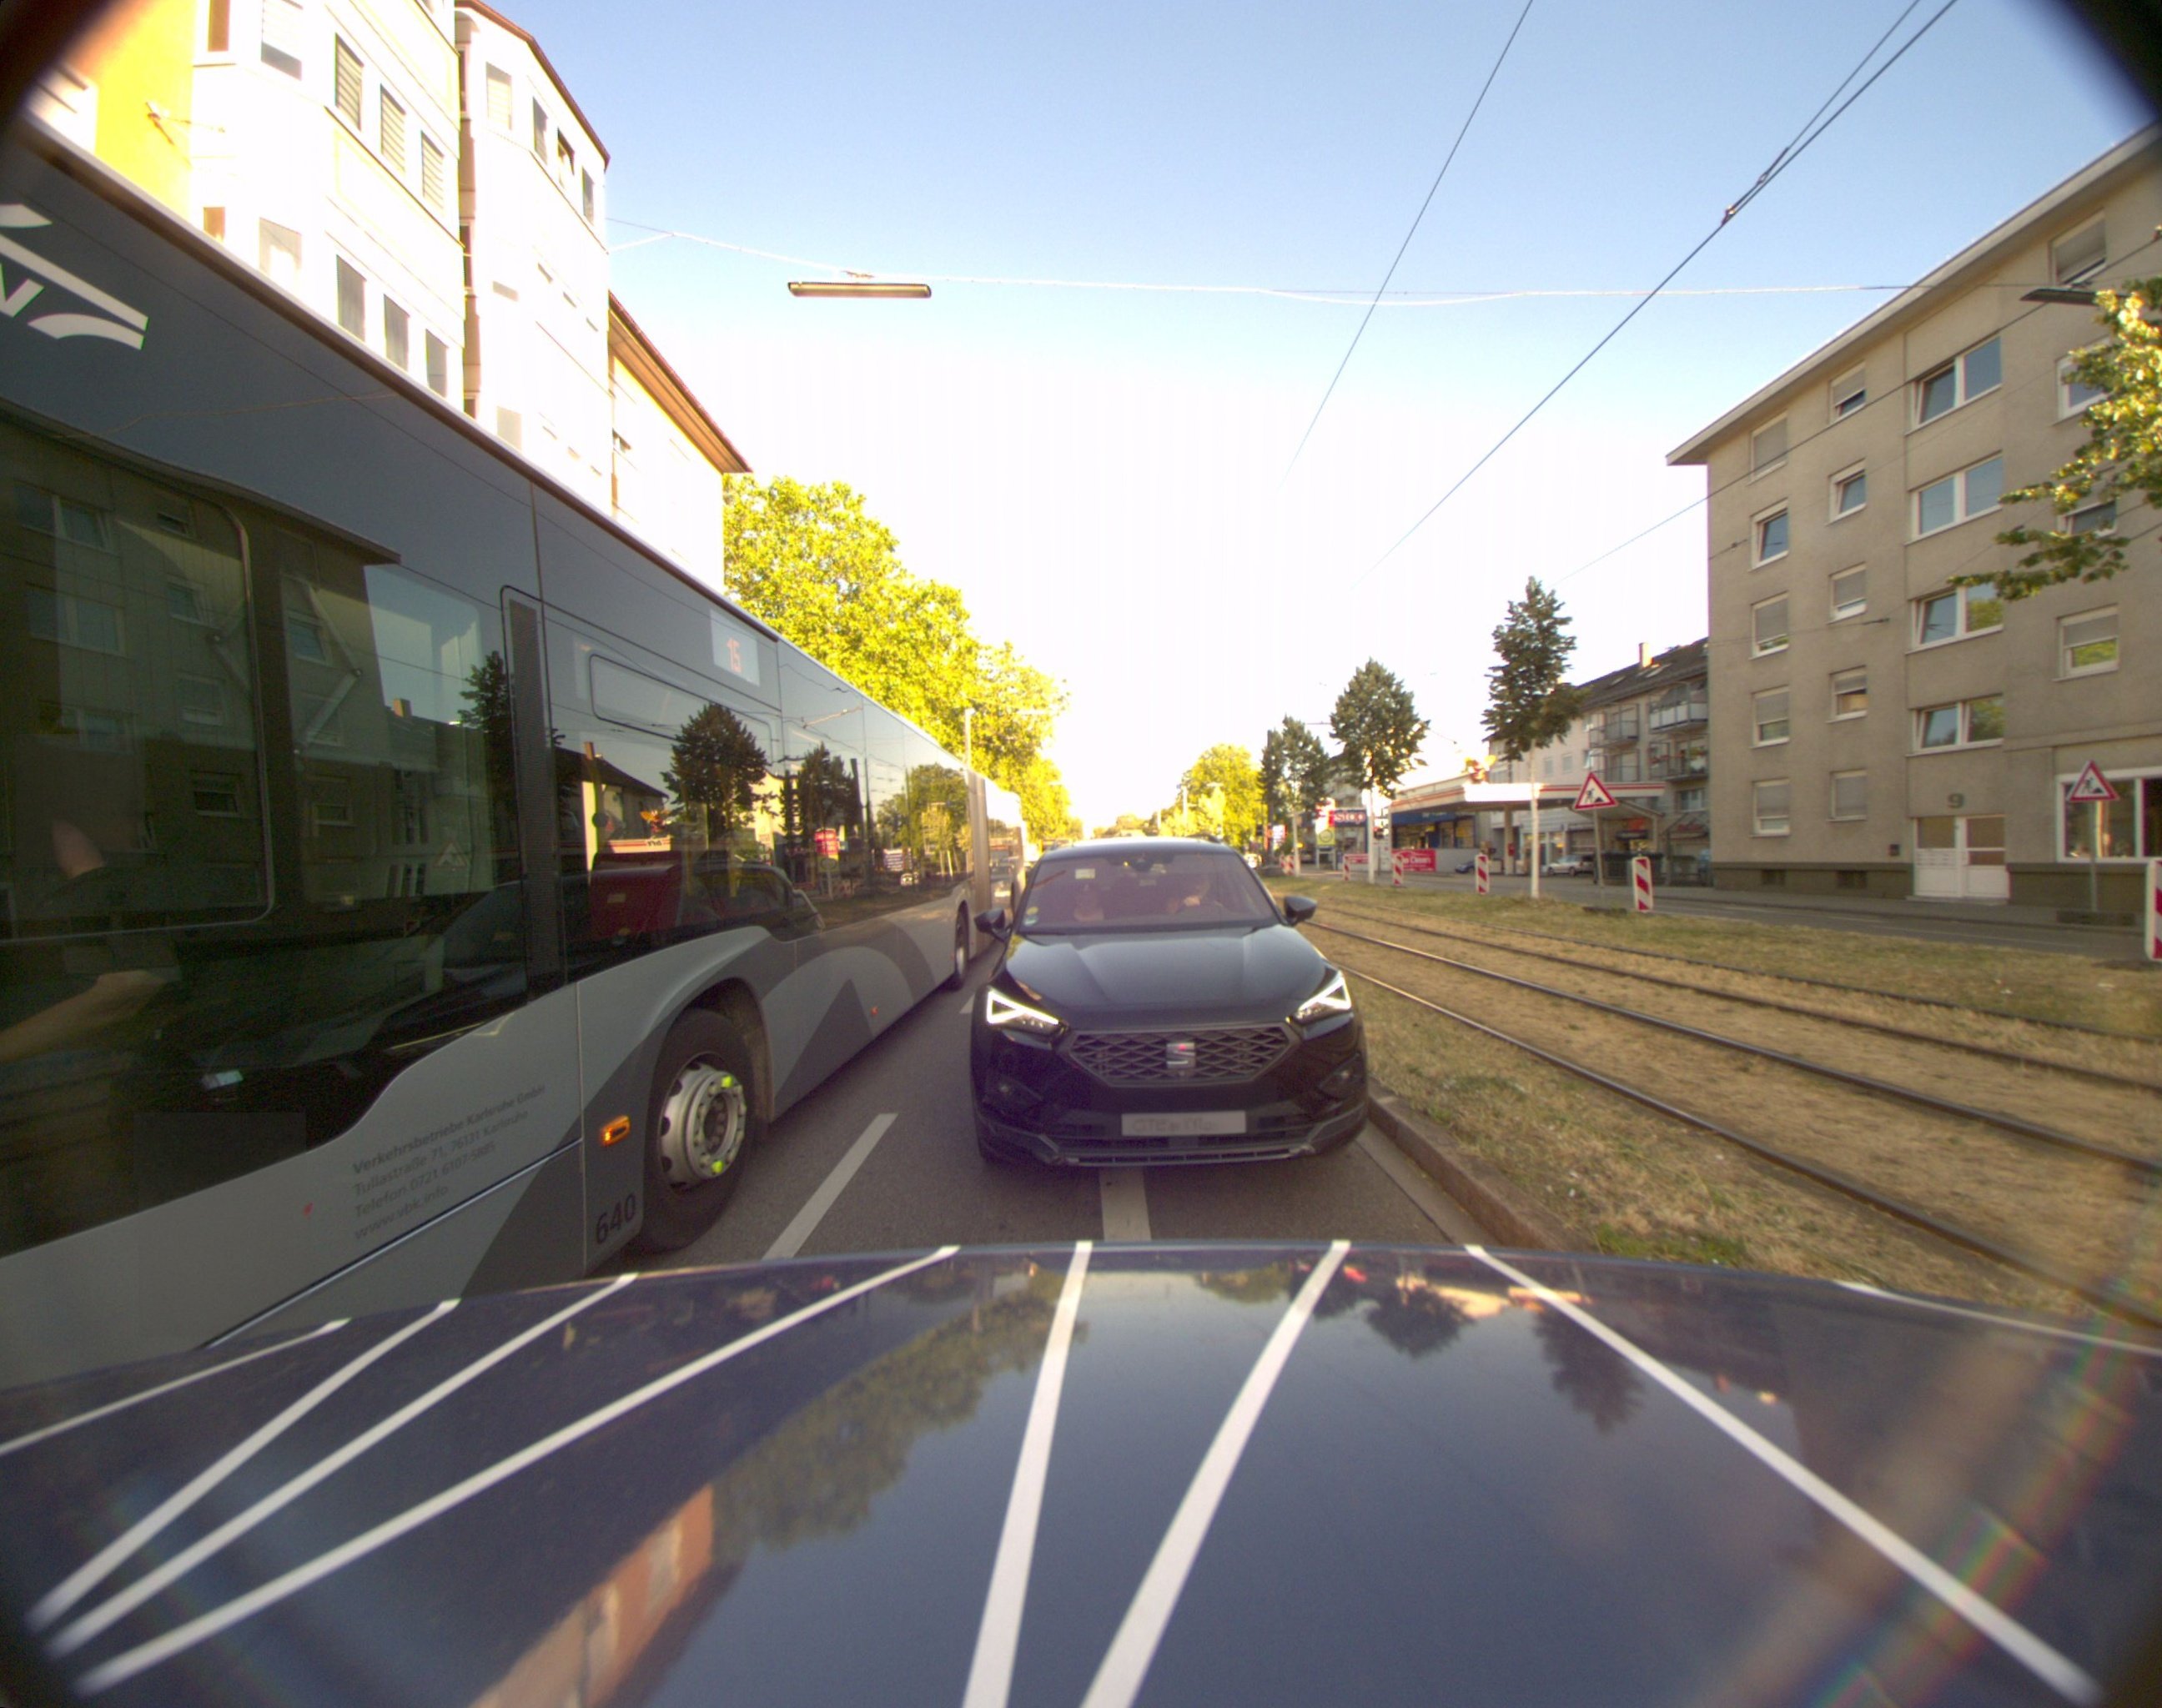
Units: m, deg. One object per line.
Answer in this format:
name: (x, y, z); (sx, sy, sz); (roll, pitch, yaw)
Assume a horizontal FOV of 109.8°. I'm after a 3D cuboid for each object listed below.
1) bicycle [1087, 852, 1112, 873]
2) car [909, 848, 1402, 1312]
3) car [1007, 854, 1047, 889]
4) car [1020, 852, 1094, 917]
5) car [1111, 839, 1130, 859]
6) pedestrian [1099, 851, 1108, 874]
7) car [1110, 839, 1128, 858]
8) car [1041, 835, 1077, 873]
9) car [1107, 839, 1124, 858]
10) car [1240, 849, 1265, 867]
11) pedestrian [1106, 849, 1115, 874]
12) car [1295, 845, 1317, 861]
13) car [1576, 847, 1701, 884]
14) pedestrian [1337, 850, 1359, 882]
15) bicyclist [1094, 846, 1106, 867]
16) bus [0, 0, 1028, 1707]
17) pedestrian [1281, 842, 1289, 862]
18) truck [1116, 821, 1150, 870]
bicycle: (1.163, 0.532, 46.948); (1.476, 1.213, 0.524); (-3, 1, -33)
car: (0.307, 0.852, 4.863); (1.774, 1.667, 4.000); (-3, 0, 1)
car: (-2.726, 0.850, 39.163); (1.750, 1.598, 3.823); (-2, 1, -1)
car: (-0.671, 0.859, 23.570); (1.998, 1.739, 4.000); (-3, 0, 1)
car: (4.066, -0.532, 78.535); (1.767, 2.002, 3.791); (-2, 1, 1)
pedestrian: (1.572, 0.593, 52.598); (0.509, 1.552, 0.699); (-2, 1, -3)
car: (4.105, -0.590, 83.568); (1.767, 2.002, 3.791); (-2, 1, 1)
car: (-1.709, -0.047, 61.813); (2.681, 2.875, 5.452); (-2, 1, 0)
car: (3.994, -0.634, 87.889); (1.767, 2.002, 3.791); (-2, 1, 1)
car: (16.683, 0.350, 74.076); (1.723, 1.601, 3.828); (-2, 1, 3)
pedestrian: (2.399, 0.617, 61.752); (0.625, 2.002, 0.695); (-2, 0, 0)
car: (25.105, -0.129, 84.831); (1.781, 1.547, 4.002); (-2, 1, 9)
car: (22.779, 0.488, 31.154); (3.727, 1.460, 1.908); (0, -1, 0)
pedestrian: (10.964, 0.483, 31.224); (0.664, 1.263, 0.581); (-2, 0, 1)
bicyclist: (1.170, 0.154, 46.907); (0.501, 1.303, 0.499); (-3, 1, -33)
bus: (-2.754, 0.139, 9.026); (2.773, 3.131, 17.740); (-2, 0, 1)
pedestrian: (21.204, -0.201, 79.061); (0.632, 2.002, 0.583); (0, 1, 2)
truck: (4.316, -0.699, 64.406); (2.306, 3.798, 7.723); (-2, 1, 1)
